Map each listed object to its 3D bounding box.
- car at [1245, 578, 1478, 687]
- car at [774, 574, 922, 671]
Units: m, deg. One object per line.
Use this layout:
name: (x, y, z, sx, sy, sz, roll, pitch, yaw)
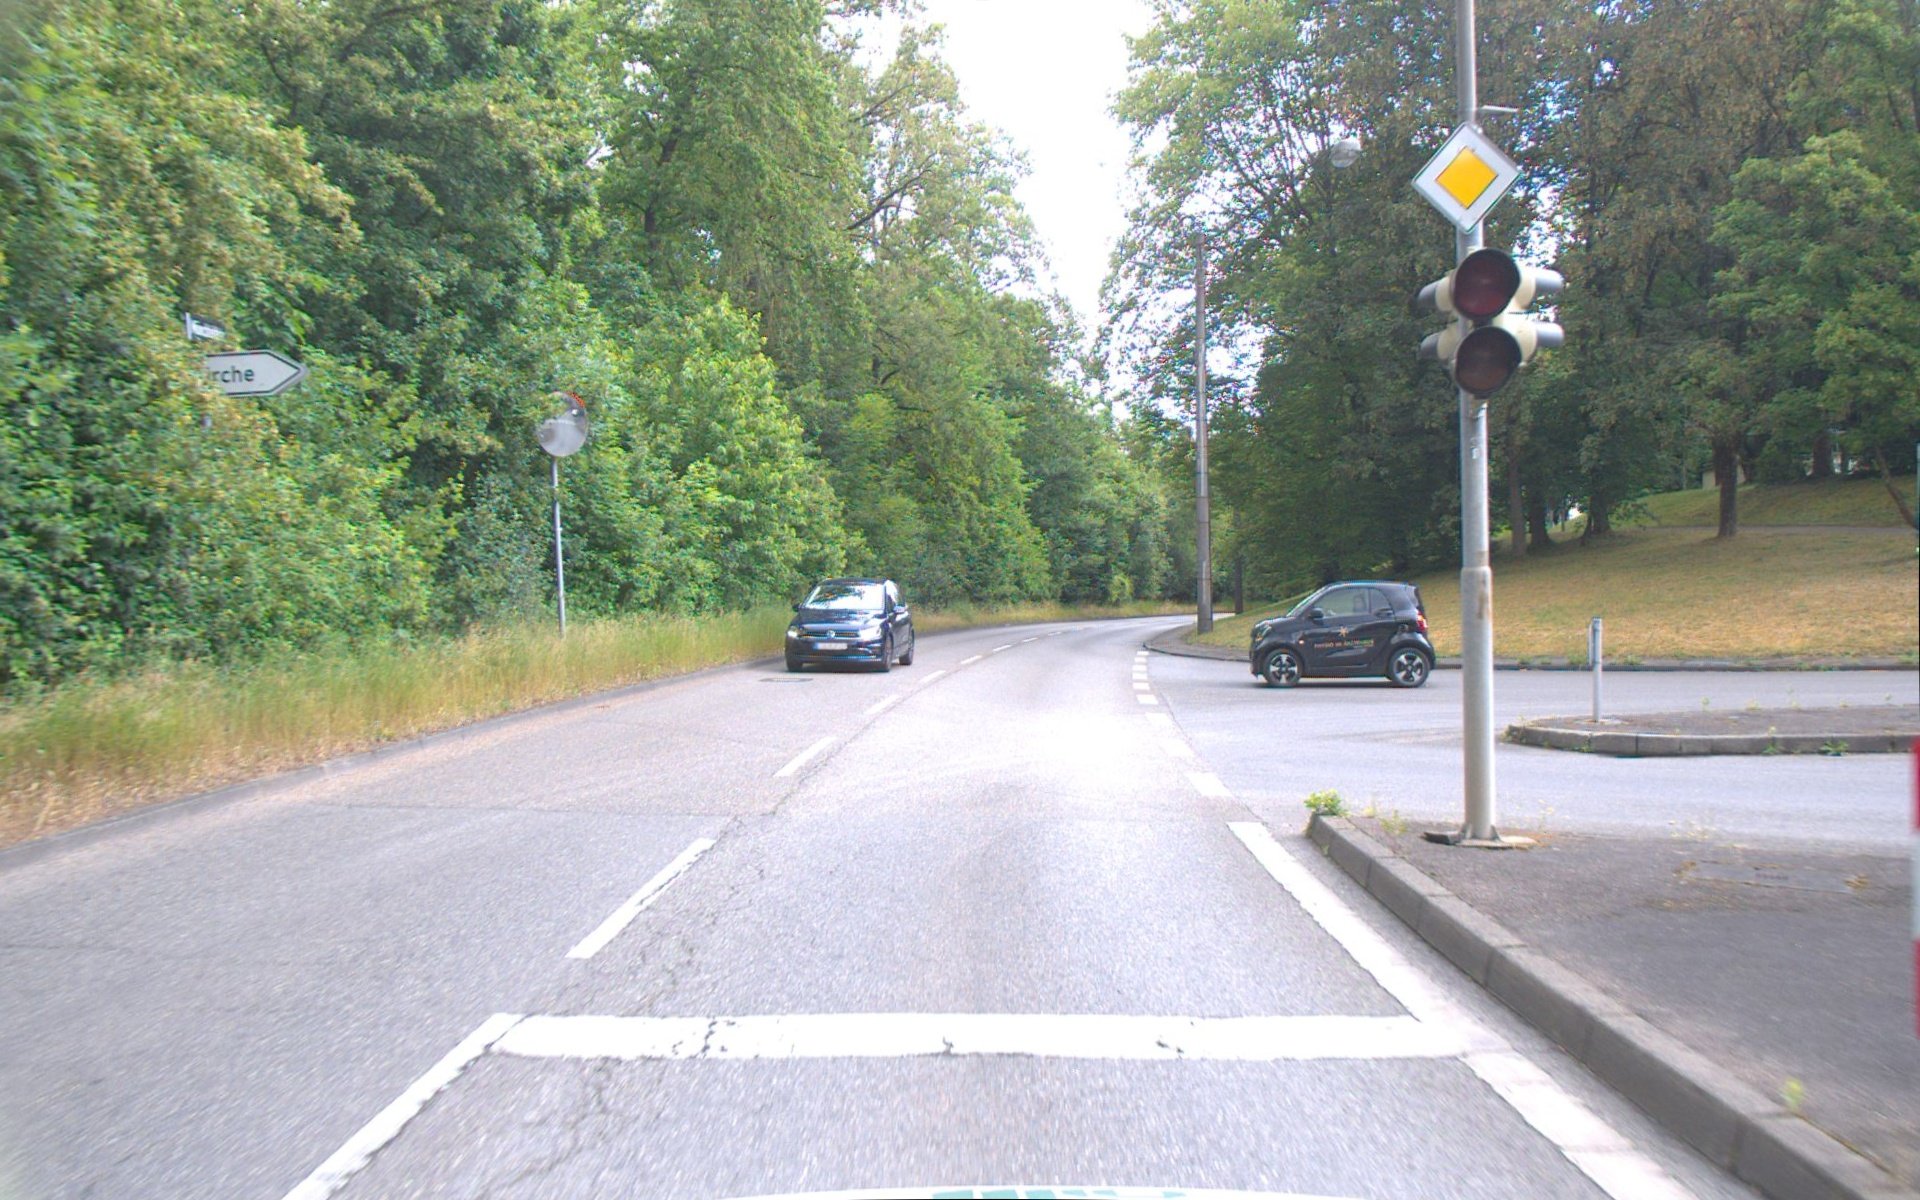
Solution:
car: (5.962, 0.467, 24.868, 3.233, 1.521, 1.669, -1, 0, 8)
car: (-1.879, 0.352, 29.241, 1.751, 1.541, 4.846, 1, 0, 6)
